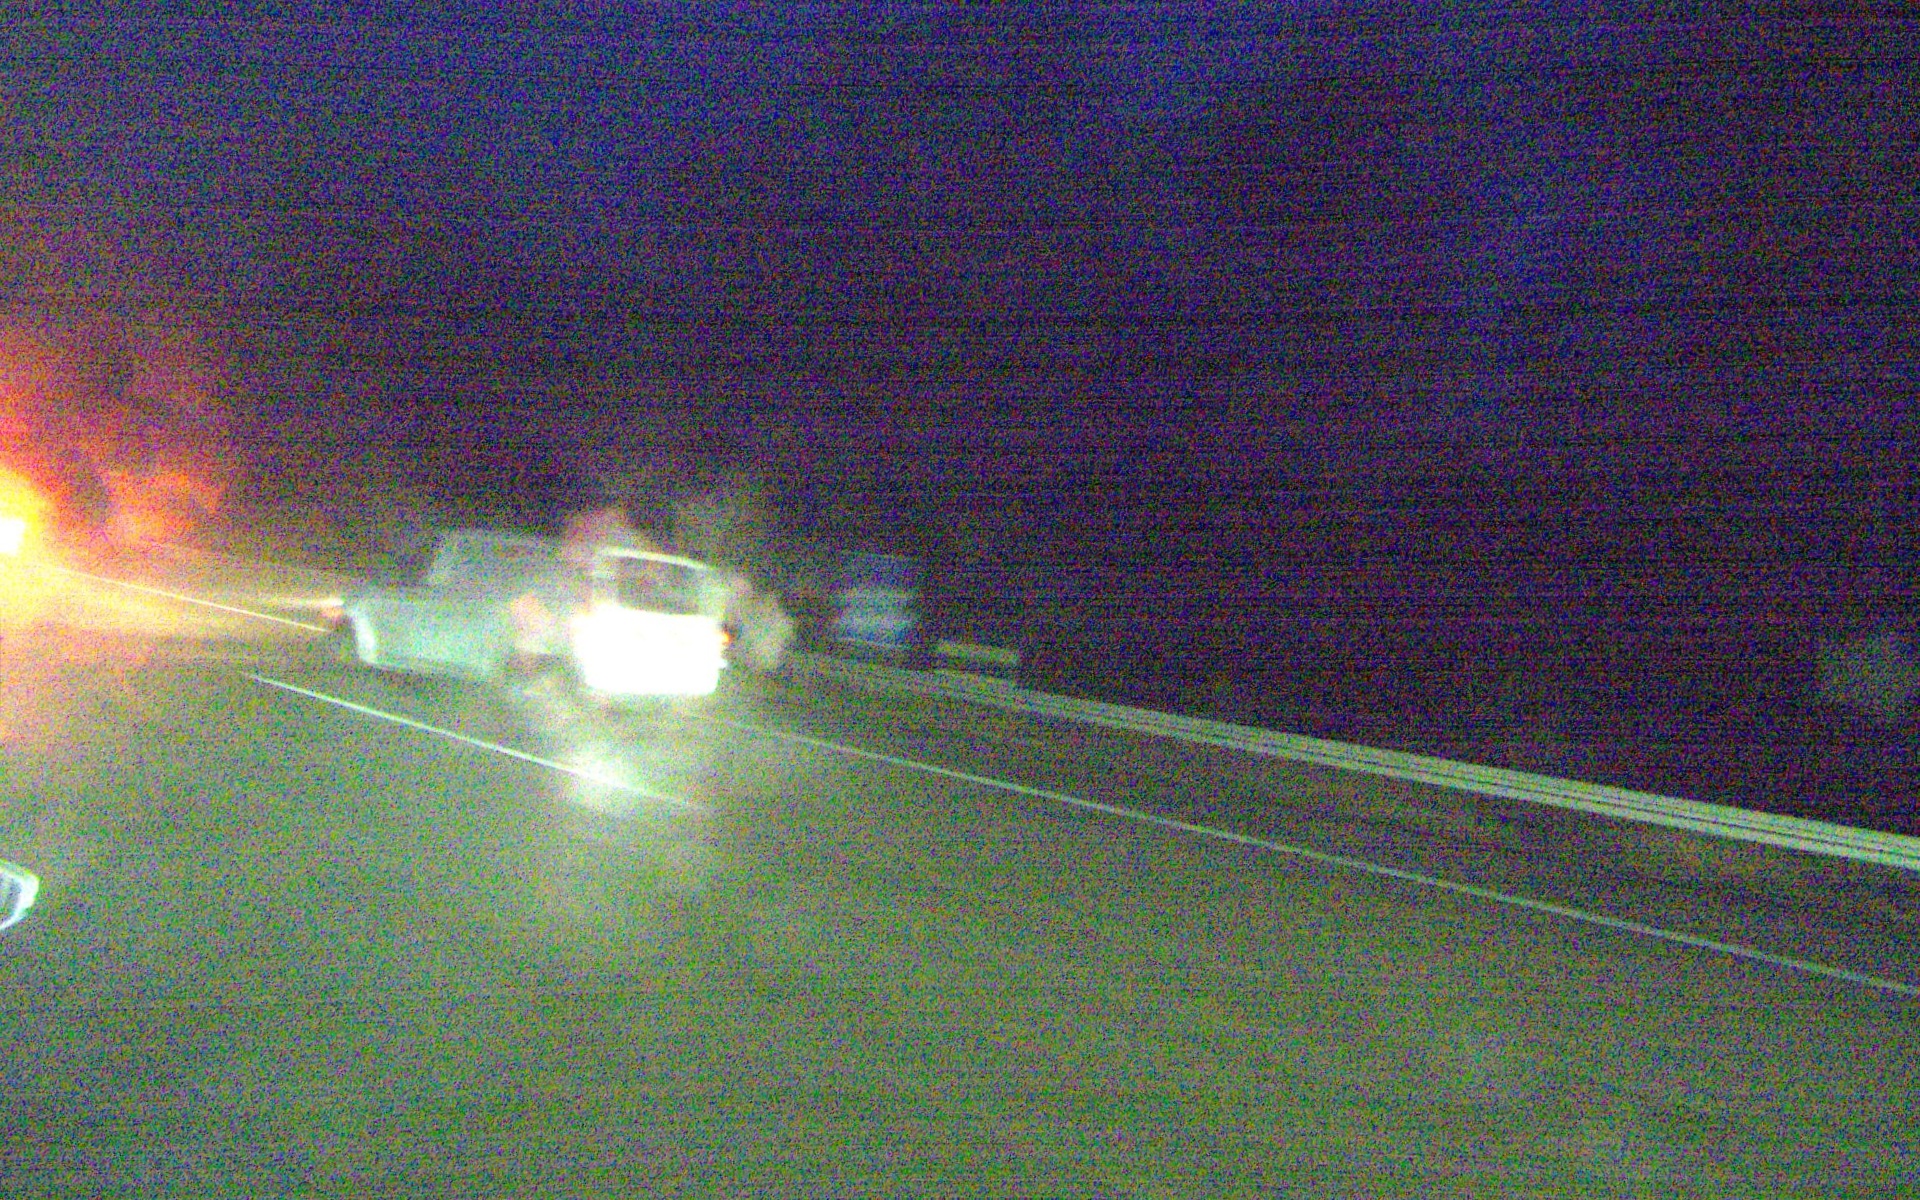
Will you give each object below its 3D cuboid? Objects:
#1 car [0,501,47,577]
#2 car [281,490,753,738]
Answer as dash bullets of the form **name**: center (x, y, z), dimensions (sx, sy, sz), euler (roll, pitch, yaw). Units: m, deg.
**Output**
- **car**: center (-22.426, -1.598, 22.223), dimensions (4.878, 1.503, 1.898), euler (7, -1, 31)
- **car**: center (-5.141, 0.061, 11.412), dimensions (5.316, 1.998, 2.050), euler (7, 0, 31)
